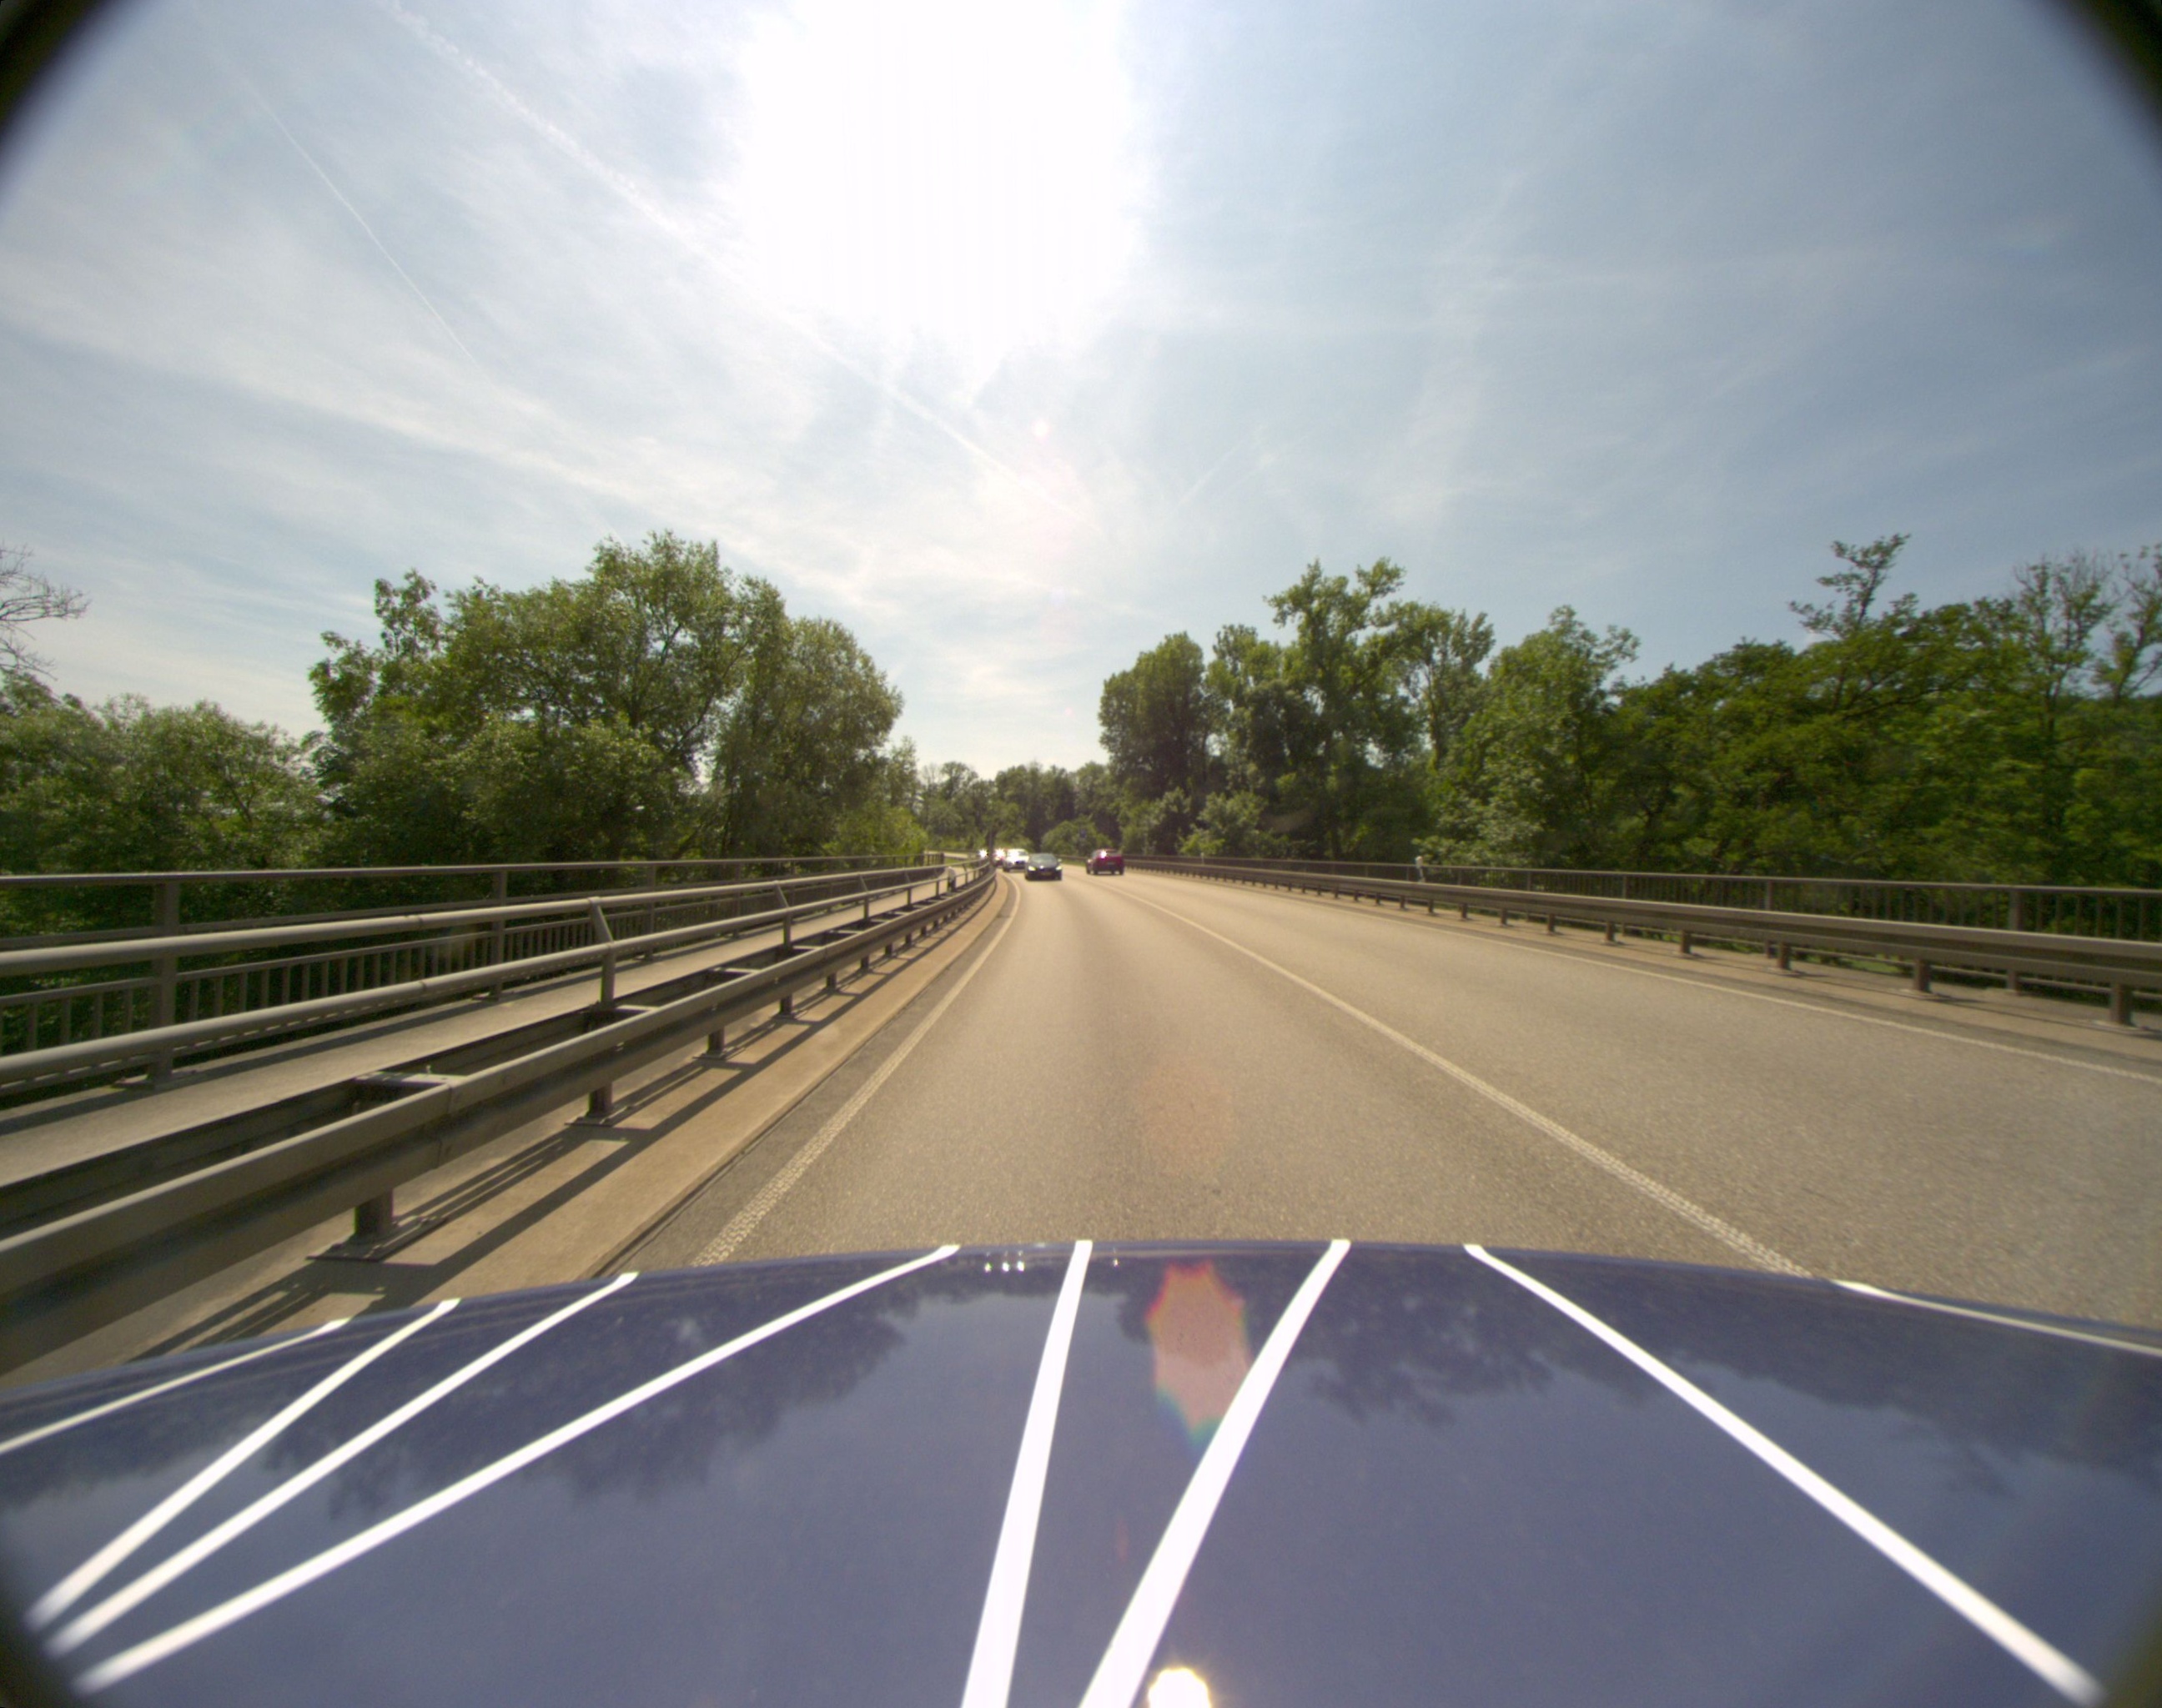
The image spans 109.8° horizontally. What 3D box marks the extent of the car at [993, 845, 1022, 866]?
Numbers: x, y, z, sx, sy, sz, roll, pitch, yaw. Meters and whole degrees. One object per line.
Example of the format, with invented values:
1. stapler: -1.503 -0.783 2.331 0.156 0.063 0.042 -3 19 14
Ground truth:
1. car: -6.511 0.094 66.868 2.001 1.765 3.995 -1 0 -12

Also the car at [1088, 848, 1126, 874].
1. car: 1.552 0.383 46.618 1.824 1.515 3.948 -1 1 -5

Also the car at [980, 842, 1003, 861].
1. car: -9.703 -0.295 82.088 2.001 2.002 3.995 -2 1 -13

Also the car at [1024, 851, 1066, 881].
1. car: -1.994 0.611 41.043 1.910 1.413 3.947 -2 1 -7

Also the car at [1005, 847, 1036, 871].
1. car: -4.447 0.313 55.579 1.910 1.638 3.946 -2 1 -9
